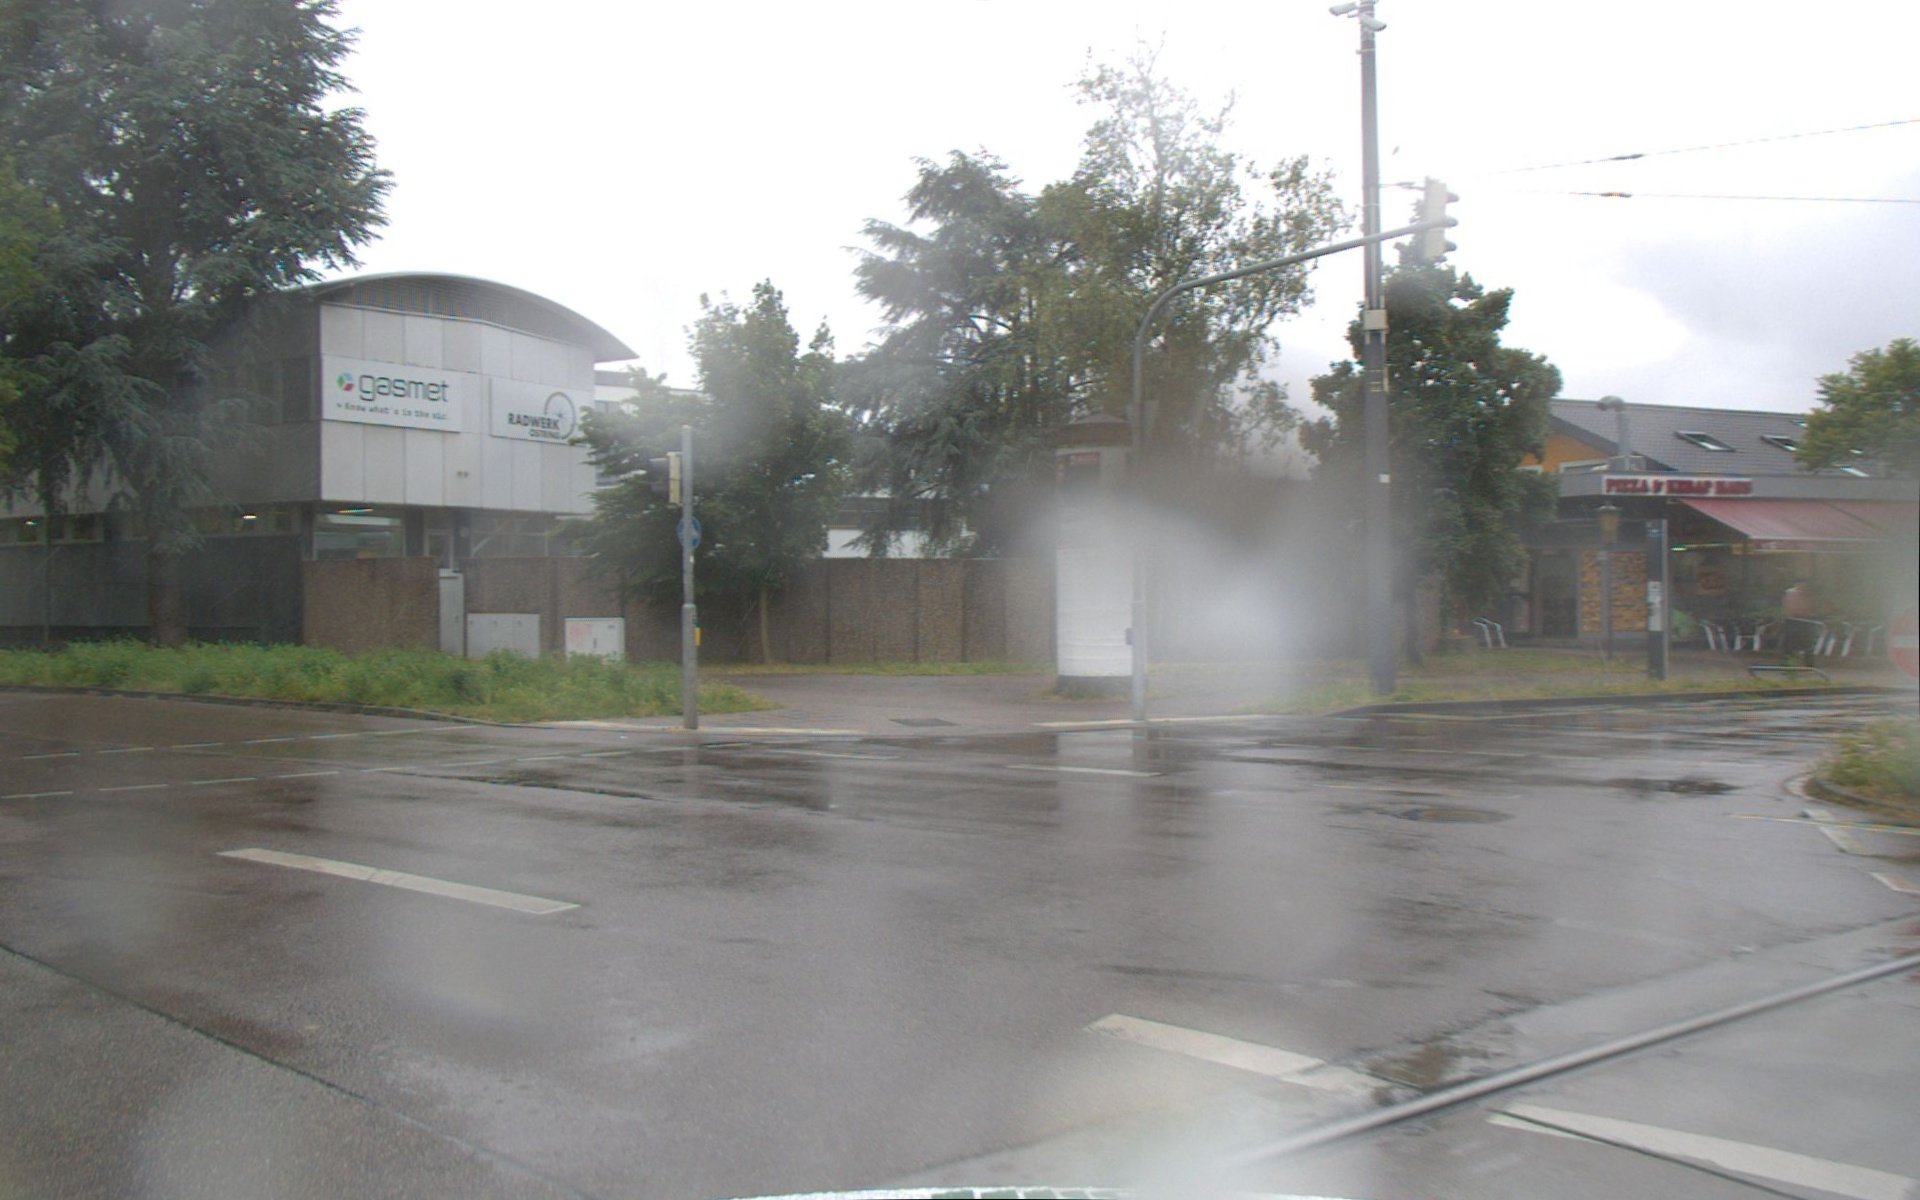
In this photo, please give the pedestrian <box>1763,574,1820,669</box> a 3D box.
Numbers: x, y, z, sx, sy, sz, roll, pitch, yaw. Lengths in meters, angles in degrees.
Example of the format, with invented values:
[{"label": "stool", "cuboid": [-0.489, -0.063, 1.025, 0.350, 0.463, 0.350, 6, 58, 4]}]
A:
[{"label": "pedestrian", "cuboid": [16.484, 0.406, 32.779, 0.879, 1.828, 0.716, -1, 2, -42]}]
